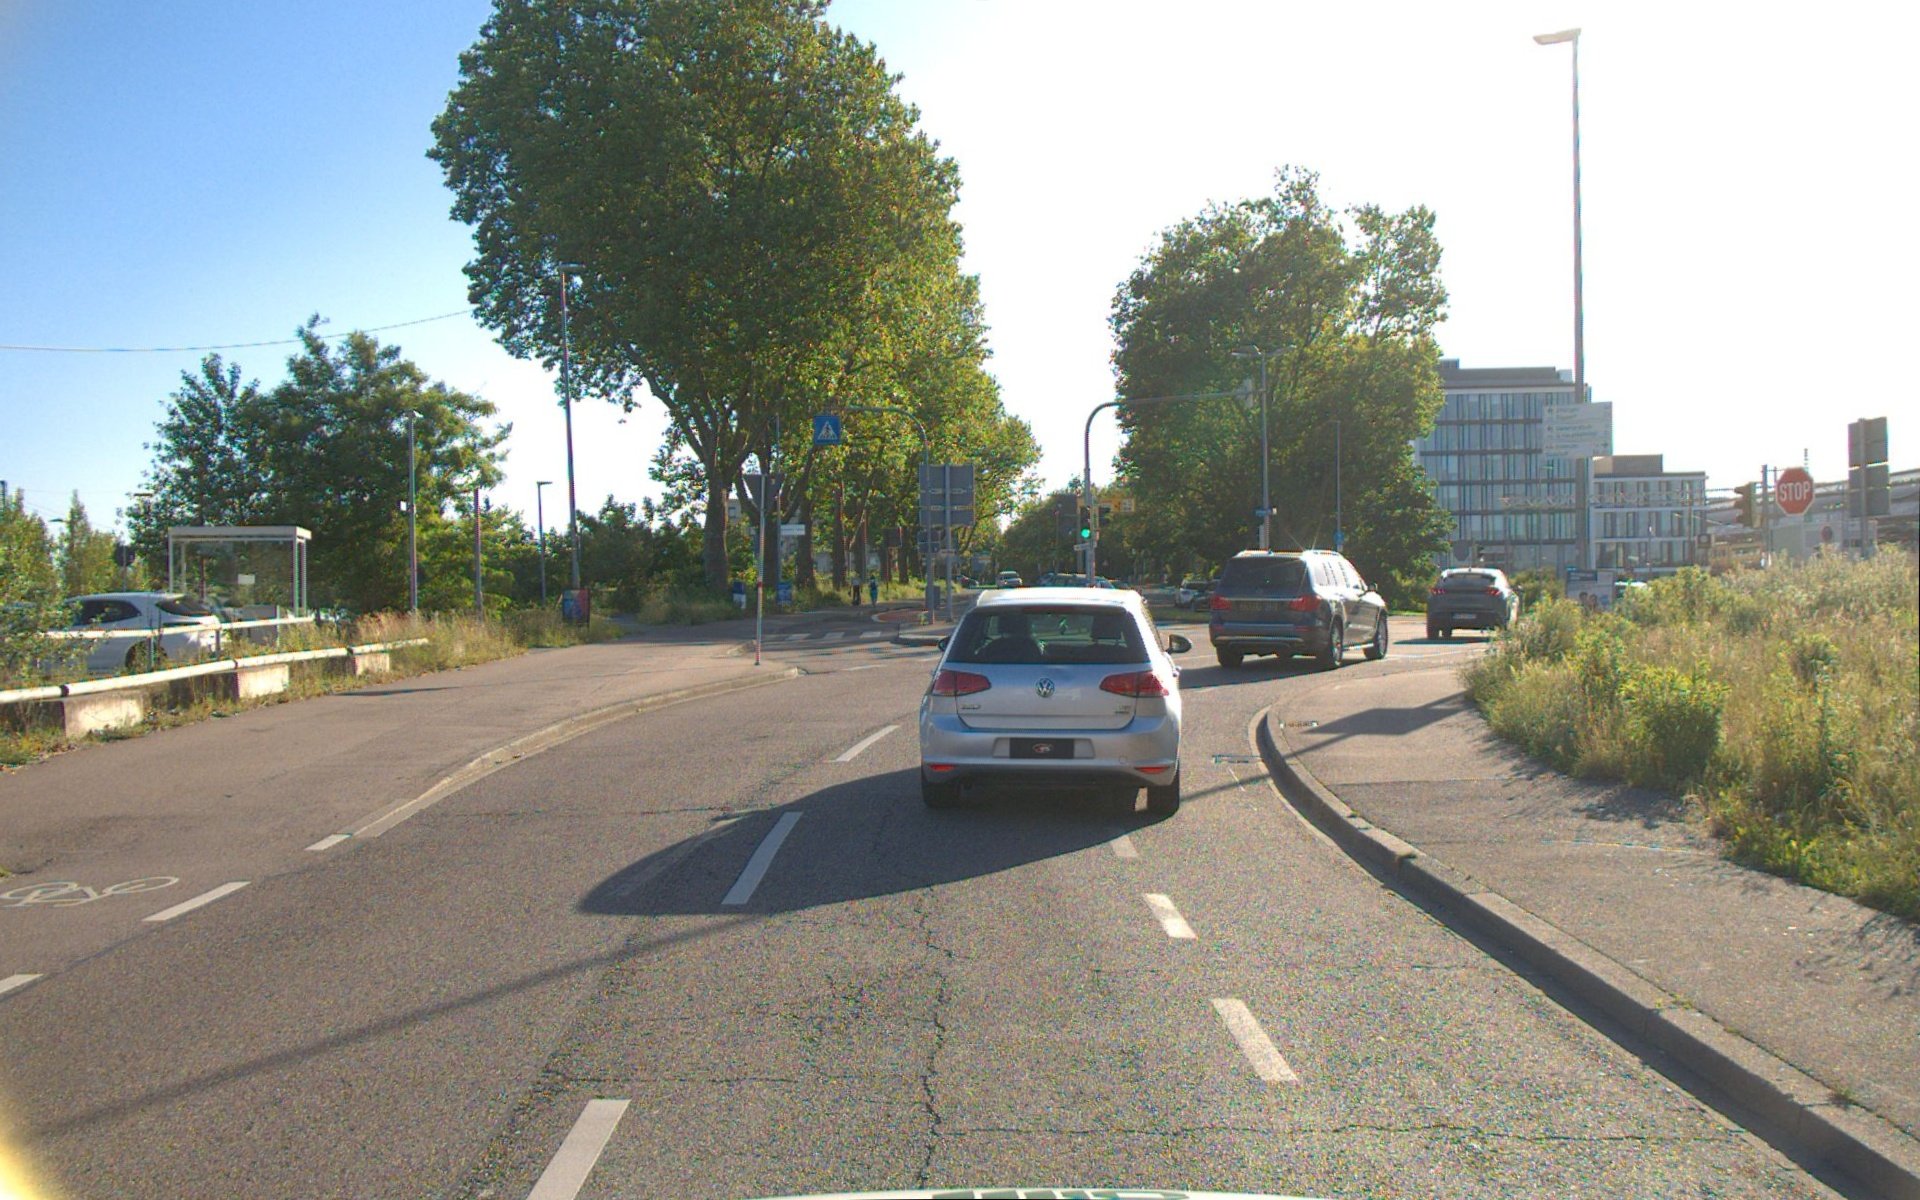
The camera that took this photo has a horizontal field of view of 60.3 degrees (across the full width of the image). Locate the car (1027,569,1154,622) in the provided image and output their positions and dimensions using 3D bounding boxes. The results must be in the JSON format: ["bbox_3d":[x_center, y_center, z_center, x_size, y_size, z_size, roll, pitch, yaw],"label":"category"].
[{"bbox_3d":[4.198,-0.156,53.550,1.980,1.624,3.945,0,0,-38],"label":"car"}]

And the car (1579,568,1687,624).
[{"bbox_3d":[20.611,-0.128,50.601,1.870,1.624,3.977,0,0,41],"label":"car"}]

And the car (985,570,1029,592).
[{"bbox_3d":[4.455,-1.779,156.140,1.984,2.049,3.936,0,1,-43],"label":"car"}]

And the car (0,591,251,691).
[{"bbox_3d":[-14.363,0.658,27.476,4.336,1.585,1.878,0,0,-2],"label":"car"}]

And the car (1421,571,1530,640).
[{"bbox_3d":[12.398,0.097,39.604,1.876,1.556,4.403,0,0,26],"label":"car"}]

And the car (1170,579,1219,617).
[{"bbox_3d":[12.003,-0.076,85.014,1.953,1.892,3.999,0,-1,0],"label":"car"}]

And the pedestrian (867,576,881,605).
[{"bbox_3d":[-4.351,-0.491,83.438,0.664,1.439,0.684,0,0,-1],"label":"pedestrian"}]

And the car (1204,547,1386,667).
[{"bbox_3d":[5.611,0.093,27.265,1.784,1.799,4.624,0,0,27],"label":"car"}]

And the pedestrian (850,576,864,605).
[{"bbox_3d":[-5.207,-0.490,83.571,0.664,1.439,0.684,0,0,-1],"label":"pedestrian"}]

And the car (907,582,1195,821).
[{"bbox_3d":[0.744,0.597,12.092,1.752,1.445,4.003,0,0,6],"label":"car"}]
